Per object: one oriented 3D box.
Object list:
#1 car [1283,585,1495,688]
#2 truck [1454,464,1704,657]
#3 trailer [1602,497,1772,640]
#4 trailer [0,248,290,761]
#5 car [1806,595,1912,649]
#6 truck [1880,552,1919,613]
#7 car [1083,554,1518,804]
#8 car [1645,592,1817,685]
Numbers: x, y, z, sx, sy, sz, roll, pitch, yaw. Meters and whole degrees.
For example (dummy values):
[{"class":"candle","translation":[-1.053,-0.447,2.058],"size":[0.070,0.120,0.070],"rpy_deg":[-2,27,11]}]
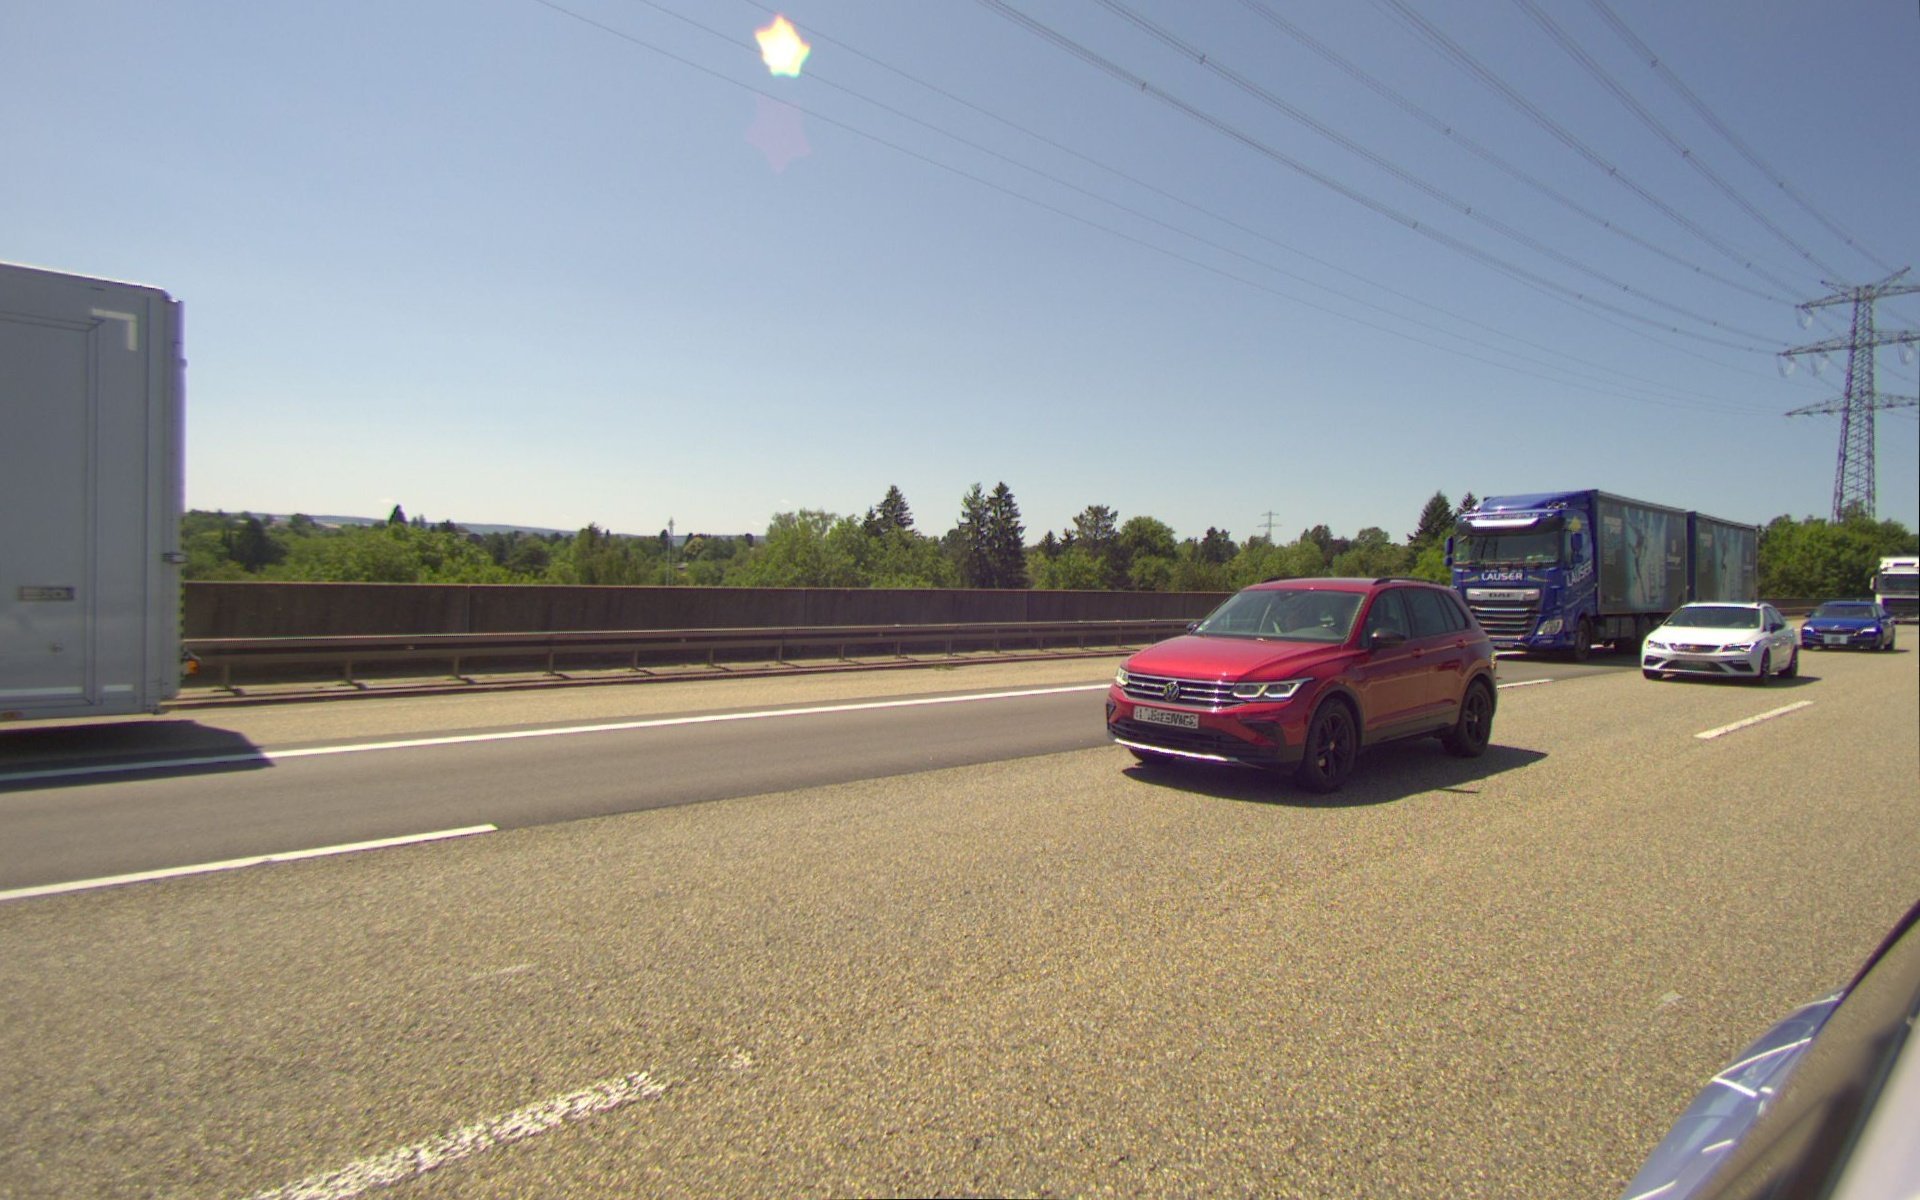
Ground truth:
[{"class":"car","translation":[7.391,0.534,17.259],"size":[4.034,1.546,1.739],"rpy_deg":[0,0,-41]},{"class":"truck","translation":[16.155,-0.910,25.927],"size":[10.265,4.117,2.527],"rpy_deg":[-1,1,-41]},{"class":"trailer","translation":[23.195,-0.895,32.077],"size":[8.331,3.995,2.570],"rpy_deg":[0,0,-41]},{"class":"trailer","translation":[-12.198,-0.765,5.992],"size":[13.535,4.172,2.539],"rpy_deg":[0,0,-42]},{"class":"car","translation":[26.590,0.593,29.901],"size":[4.135,1.463,1.739],"rpy_deg":[0,1,-40]},{"class":"truck","translation":[60.062,-1.070,62.912],"size":[10.776,3.604,2.983],"rpy_deg":[-1,0,-41]},{"class":"car","translation":[3.132,0.512,8.857],"size":[4.151,1.683,1.778],"rpy_deg":[0,1,-41]},{"class":"car","translation":[14.177,0.618,18.537],"size":[4.003,1.508,1.841],"rpy_deg":[0,0,-42]}]
